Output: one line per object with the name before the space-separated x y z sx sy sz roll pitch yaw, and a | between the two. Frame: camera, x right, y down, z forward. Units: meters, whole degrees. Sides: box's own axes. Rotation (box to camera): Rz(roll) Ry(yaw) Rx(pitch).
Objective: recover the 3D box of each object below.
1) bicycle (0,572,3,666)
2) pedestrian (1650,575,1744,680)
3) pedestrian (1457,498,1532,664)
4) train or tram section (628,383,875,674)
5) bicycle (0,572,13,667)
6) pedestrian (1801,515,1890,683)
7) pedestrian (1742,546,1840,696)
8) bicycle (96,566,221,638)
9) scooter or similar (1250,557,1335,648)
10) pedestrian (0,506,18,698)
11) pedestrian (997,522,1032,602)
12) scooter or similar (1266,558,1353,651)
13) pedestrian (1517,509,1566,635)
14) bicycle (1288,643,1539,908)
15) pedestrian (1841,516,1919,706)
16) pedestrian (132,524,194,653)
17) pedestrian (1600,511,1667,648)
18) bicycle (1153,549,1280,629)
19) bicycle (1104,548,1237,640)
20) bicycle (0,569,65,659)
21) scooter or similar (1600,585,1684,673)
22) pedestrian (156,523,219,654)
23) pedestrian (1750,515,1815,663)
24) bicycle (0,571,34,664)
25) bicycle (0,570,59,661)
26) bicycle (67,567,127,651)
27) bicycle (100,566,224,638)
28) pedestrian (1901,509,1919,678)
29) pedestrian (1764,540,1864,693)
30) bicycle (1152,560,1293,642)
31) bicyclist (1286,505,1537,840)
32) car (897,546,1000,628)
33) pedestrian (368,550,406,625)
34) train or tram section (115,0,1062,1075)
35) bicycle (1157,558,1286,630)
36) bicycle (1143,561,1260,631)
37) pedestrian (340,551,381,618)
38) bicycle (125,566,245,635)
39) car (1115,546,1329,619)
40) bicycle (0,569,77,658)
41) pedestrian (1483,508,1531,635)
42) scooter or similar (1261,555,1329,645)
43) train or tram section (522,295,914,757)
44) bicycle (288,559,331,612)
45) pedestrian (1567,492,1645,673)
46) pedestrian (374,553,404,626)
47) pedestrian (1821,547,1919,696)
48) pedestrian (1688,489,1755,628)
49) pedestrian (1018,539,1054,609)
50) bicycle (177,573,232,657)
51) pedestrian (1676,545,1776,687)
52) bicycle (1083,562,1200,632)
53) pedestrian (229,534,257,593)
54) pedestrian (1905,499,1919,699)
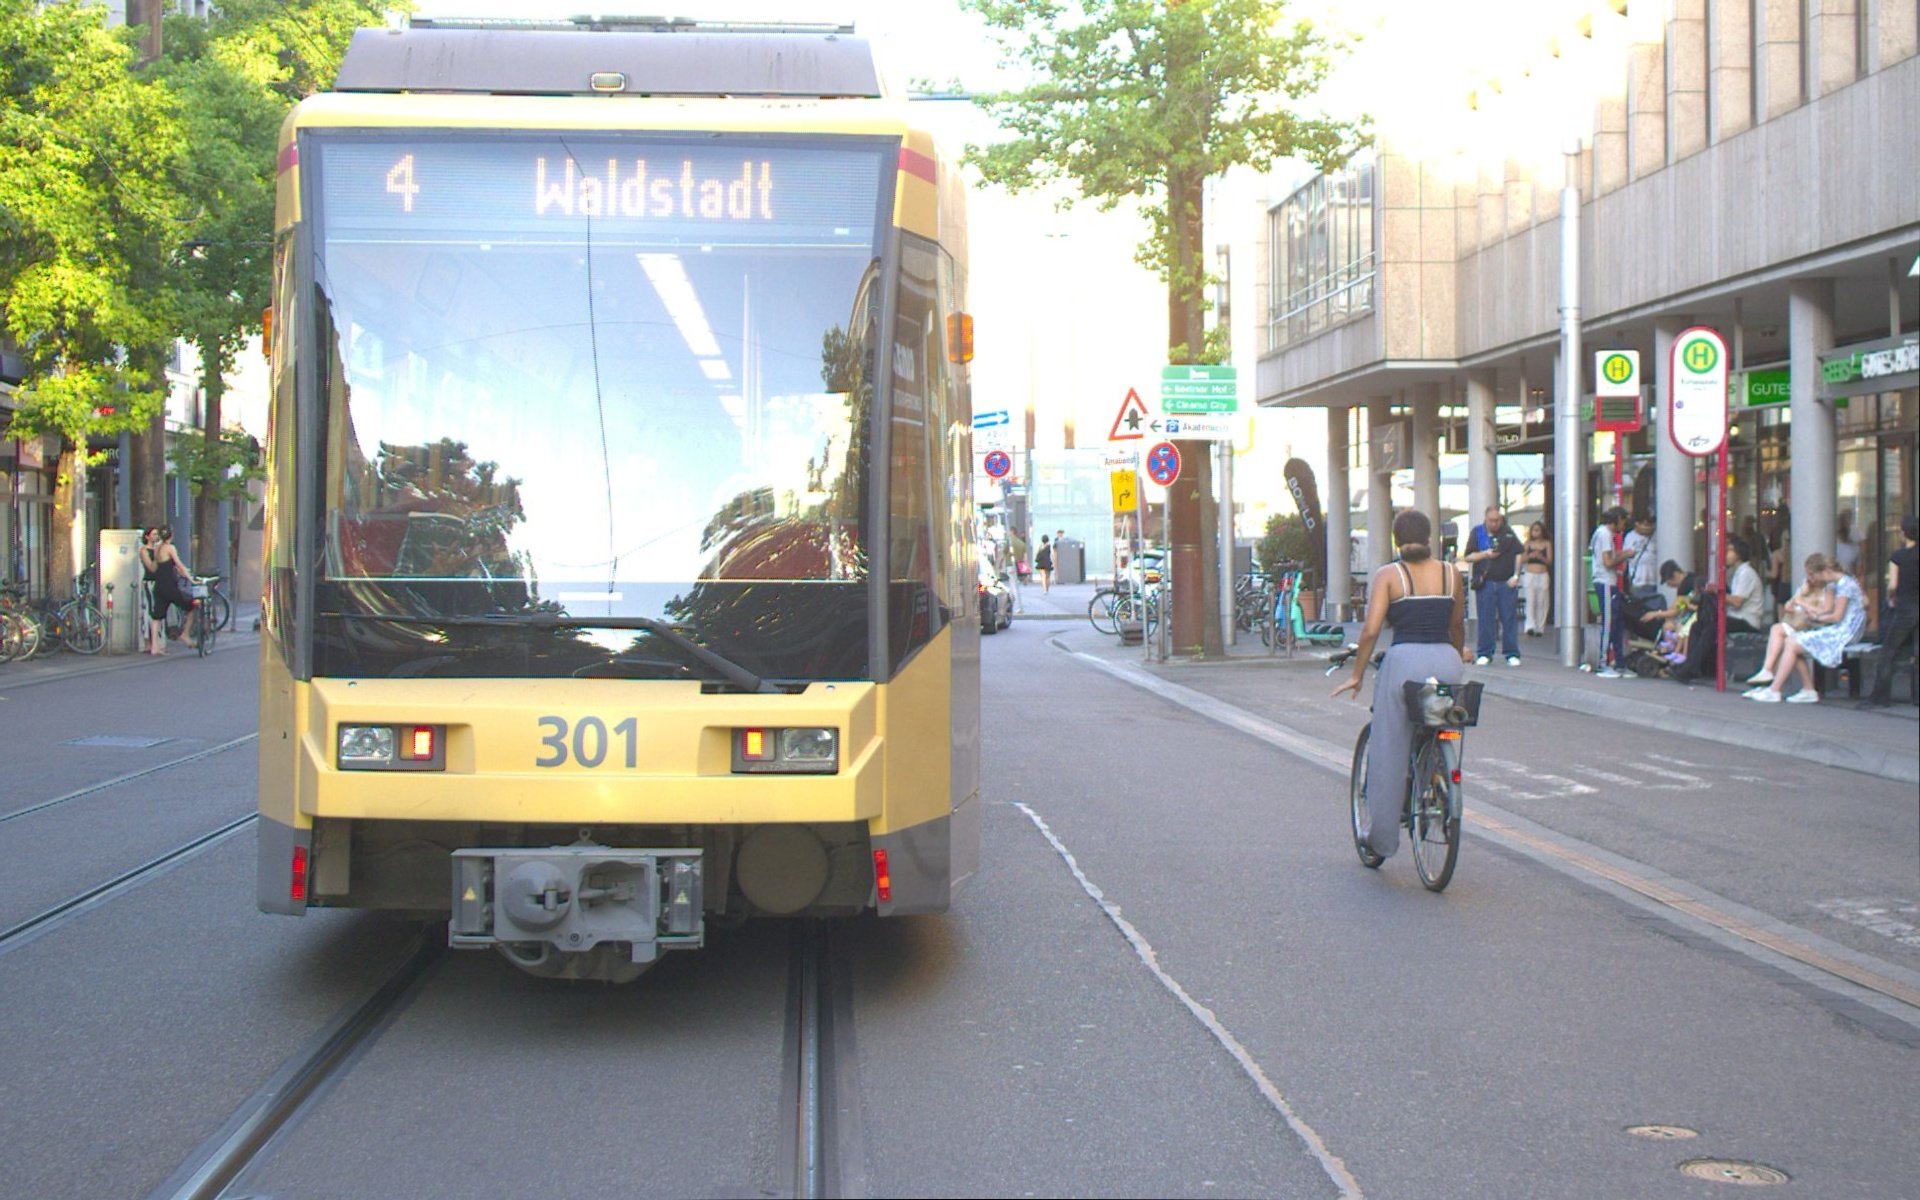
bicycle | -11.676 0.199 38.479 1.771 1.067 0.489 2 1 -7
pedestrian | 7.407 0.270 34.562 0.813 1.039 0.544 1 0 0
pedestrian | 5.965 -0.215 38.405 0.668 1.833 0.708 -1 1 -2
train or tram section | -2.700 -0.960 46.465 2.800 3.308 14.510 0 1 -3
bicycle | -11.717 0.192 39.055 1.771 1.067 0.489 2 1 -7
pedestrian | 8.918 -0.015 34.645 0.687 1.655 0.722 -1 0 0
pedestrian | 7.343 0.180 30.402 0.718 1.310 0.532 1 0 0
bicycle | -12.205 0.028 52.398 1.772 1.041 0.489 1 1 -2
scooter or similar | 4.709 0.032 48.674 1.187 1.247 0.393 -2 2 -31
pedestrian | -9.461 0.016 32.276 0.820 1.786 0.990 0 1 -44
pedestrian | 1.172 -0.815 74.399 0.718 1.719 0.709 0 0 -1
scooter or similar | 4.869 0.055 47.912 1.112 1.247 0.497 -2 2 -32
pedestrian | 8.377 -0.402 49.523 0.539 1.800 0.604 -1 1 -3
bicycle | 2.081 0.782 16.070 0.815 1.069 2.113 1 1 -2
pedestrian | 7.845 0.085 28.785 0.724 1.565 0.736 -1 0 0
pedestrian | -10.592 -0.165 45.697 0.602 1.693 0.535 1 1 27
pedestrian | 8.237 -0.257 42.060 0.648 1.655 0.650 -1 1 -1
bicycle | 4.171 -0.181 55.994 1.914 1.218 0.763 -2 1 -7
bicycle | 3.251 -0.098 53.222 1.914 1.328 0.726 -2 1 -7
bicycle | -11.904 0.159 42.057 1.771 1.067 0.489 2 1 -7
scooter or similar | 7.134 0.298 35.941 0.834 0.881 0.686 2 1 12
pedestrian | -10.150 -0.156 45.186 0.602 1.693 0.535 1 1 27
pedestrian | 9.769 -0.134 40.860 0.570 1.725 0.617 -1 1 -3
bicycle | -11.815 0.178 40.294 1.771 1.067 0.489 2 1 -7
bicycle | -11.828 0.165 41.514 1.771 1.067 0.489 2 1 -7
bicycle | -11.326 0.109 45.139 0.488 1.041 1.778 1 1 -5
bicycle | -12.211 0.026 52.641 1.772 1.041 0.489 1 1 -2
pedestrian | 10.065 -0.079 35.326 0.570 1.725 0.617 -1 1 -3
pedestrian | 7.416 0.143 29.864 0.718 1.310 0.524 1 0 0
bicycle | 4.001 0.012 52.418 1.995 1.151 0.726 -2 1 -7
bicyclist | 2.088 0.322 16.019 0.997 1.497 0.857 1 1 -1
car | -0.182 -0.215 61.165 1.770 1.404 4.052 0 0 1
pedestrian | -11.839 -0.252 71.036 0.684 1.536 0.605 0 0 -19
train or tram section | -1.417 -0.390 17.488 2.800 3.308 14.510 0 1 -3
bicycle | 4.196 -0.103 55.249 1.914 1.074 0.763 -2 1 -7
bicycle | 4.039 -0.075 57.635 1.852 1.105 0.667 -2 1 -4
pedestrian | -12.929 -0.333 74.135 0.555 1.429 0.684 0 0 36
bicycle | -12.236 0.008 54.283 1.772 1.041 0.489 1 1 -2
car | 5.226 -0.346 68.541 3.888 1.404 1.776 0 0 -25
bicycle | -11.919 0.152 42.710 1.771 1.067 0.489 2 1 -7
pedestrian | 7.845 -0.406 49.324 0.539 1.800 0.604 -1 1 -3
scooter or similar | 4.810 -0.001 49.300 0.393 1.247 1.189 0 2 36
train or tram section | -2.054 -0.676 31.959 2.800 3.308 14.510 0 1 -3
bicycle | -14.276 -0.325 75.474 0.498 1.104 1.800 0 2 3
pedestrian | 6.653 -0.181 35.403 0.639 1.833 0.668 -1 1 -1
pedestrian | -11.722 -0.208 70.547 0.603 1.489 0.555 0 0 -10
pedestrian | 8.079 0.187 30.535 0.718 1.310 0.532 1 0 0
pedestrian | 9.904 -0.540 44.739 0.663 1.780 0.719 -1 0 -2
pedestrian | 2.004 -0.687 90.386 0.733 1.817 0.820 0 1 -16
bicycle | -9.964 0.186 45.371 0.488 1.041 1.778 1 1 -5
pedestrian | 7.535 0.156 33.837 0.813 1.376 0.662 1 0 0
bicycle | 3.027 -0.054 57.412 1.852 1.105 0.667 -2 1 -4
pedestrian | -21.162 -1.081 101.498 0.713 1.719 0.709 0 0 -4
pedestrian | 9.019 -0.013 30.756 0.844 1.791 0.859 -1 0 -2
